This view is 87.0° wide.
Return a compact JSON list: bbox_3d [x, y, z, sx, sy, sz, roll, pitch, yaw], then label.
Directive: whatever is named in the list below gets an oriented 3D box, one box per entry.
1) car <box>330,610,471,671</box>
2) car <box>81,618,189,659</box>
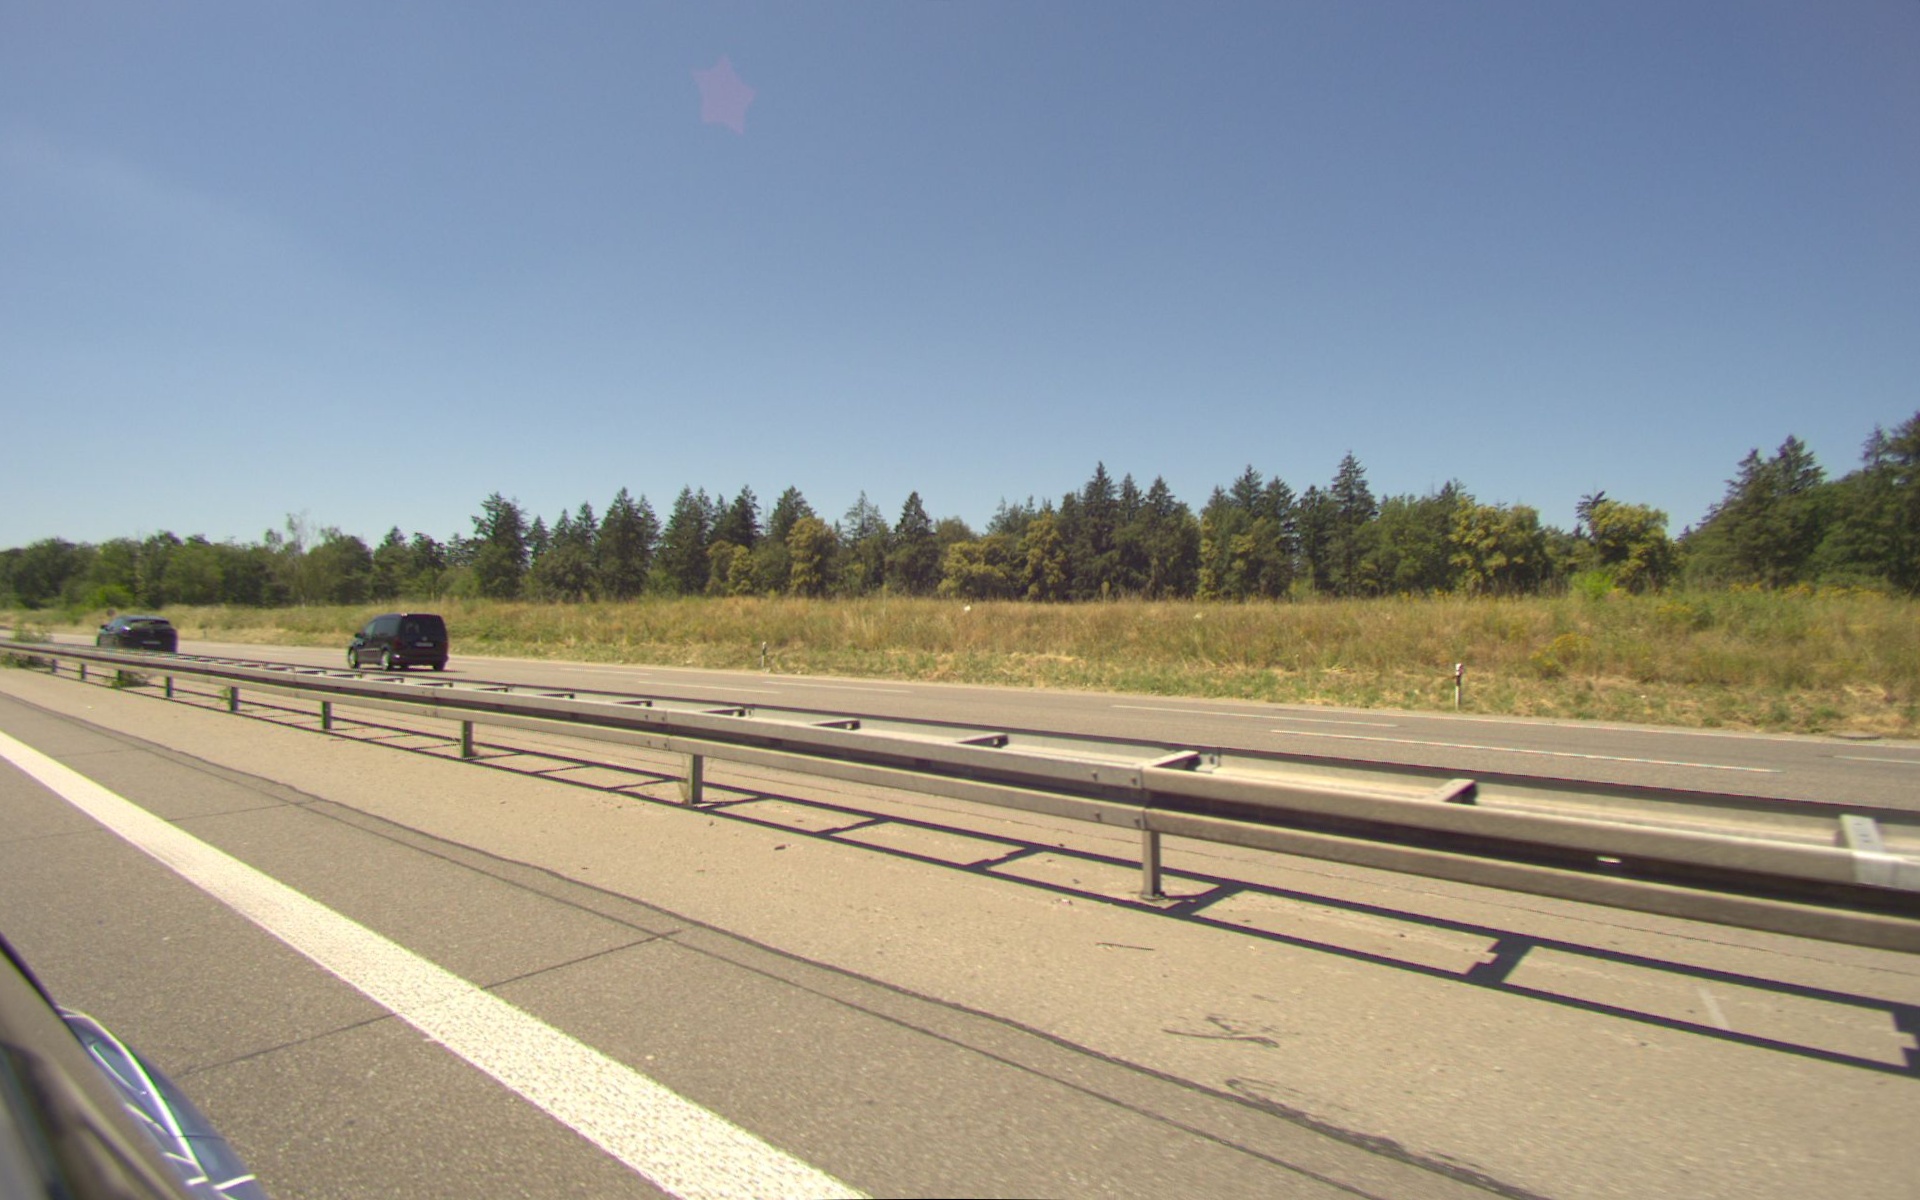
[{"bbox_3d":[-18.197,1.302,32.803,5.295,1.826,2.205,-1,-4,40],"label":"car"},{"bbox_3d":[-31.161,1.446,38.173,5.295,1.435,2.205,-1,-4,40],"label":"car"}]
